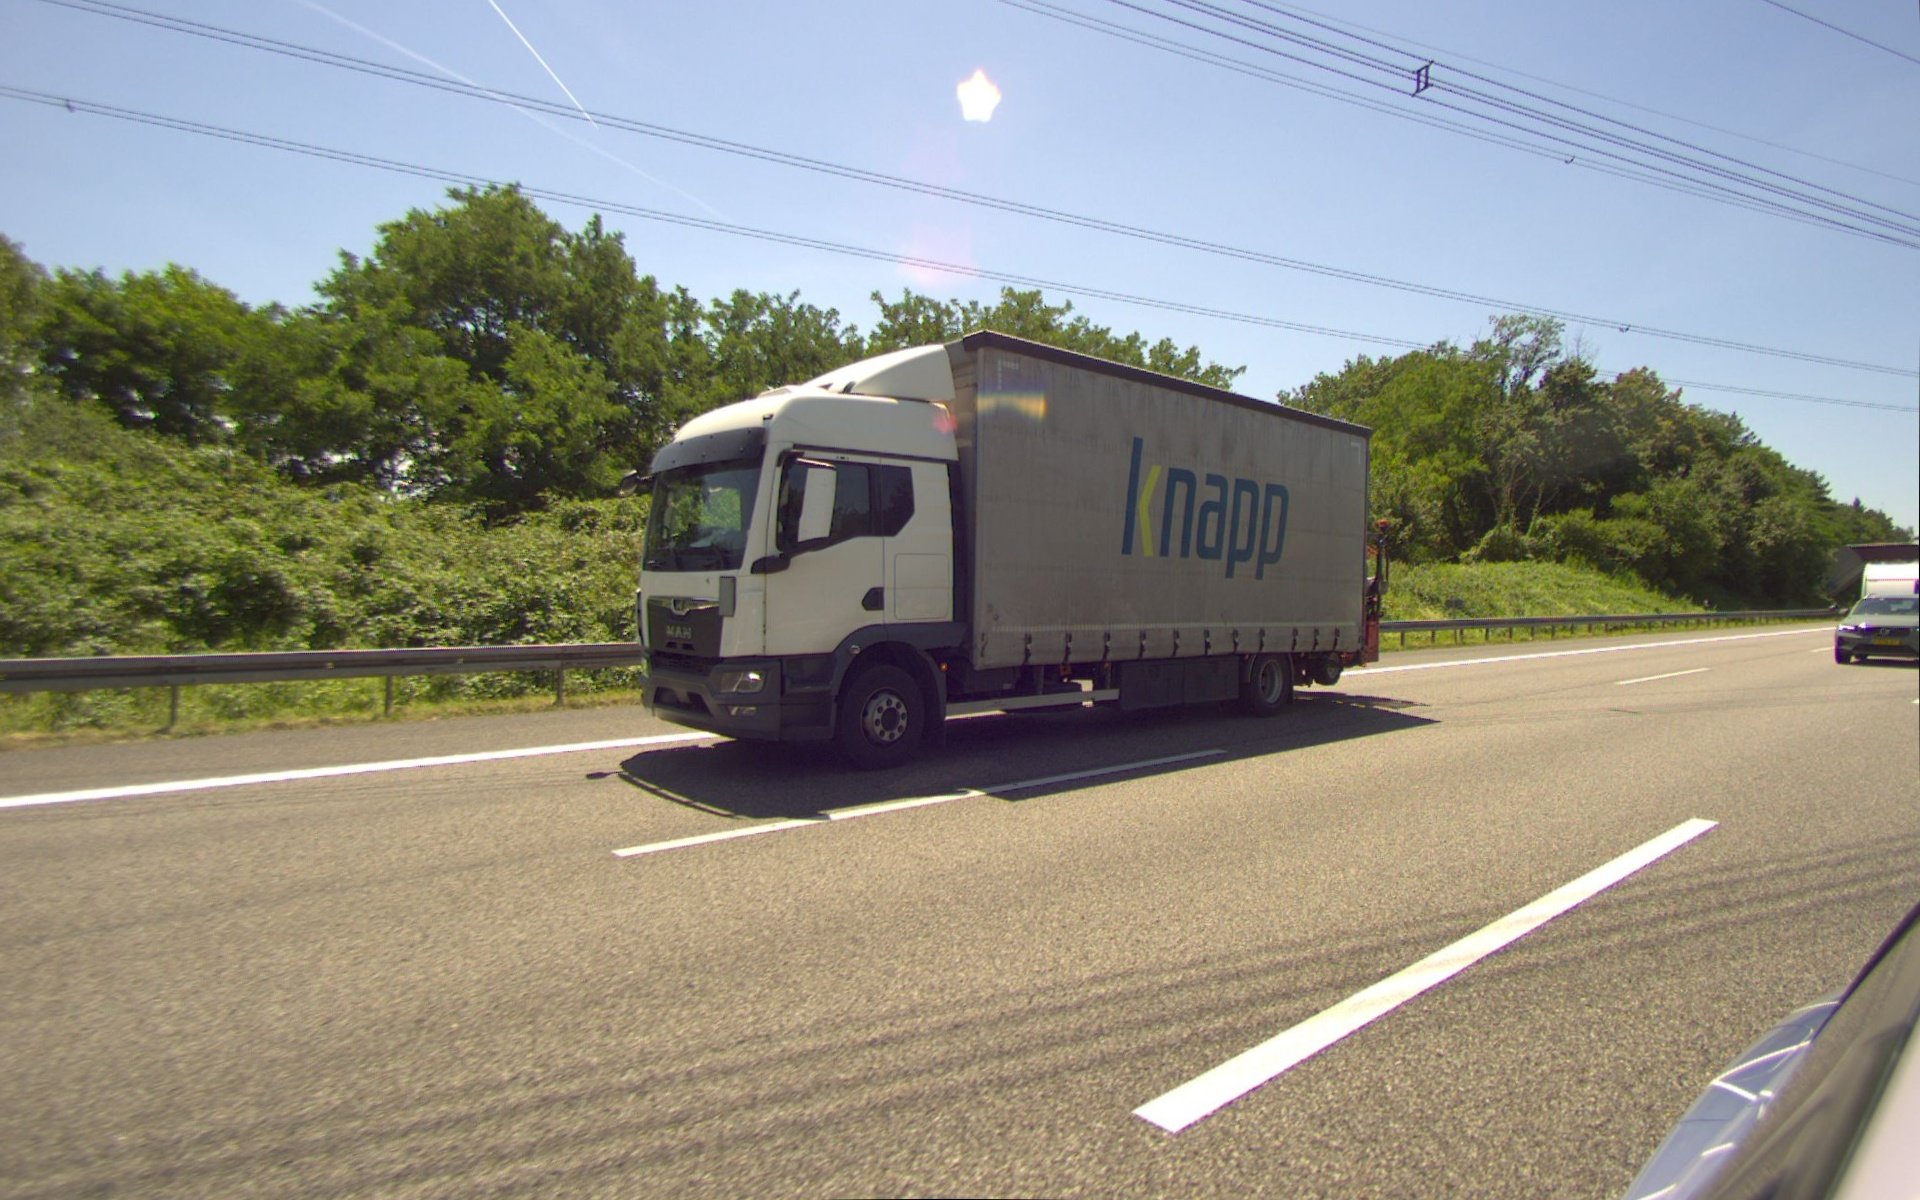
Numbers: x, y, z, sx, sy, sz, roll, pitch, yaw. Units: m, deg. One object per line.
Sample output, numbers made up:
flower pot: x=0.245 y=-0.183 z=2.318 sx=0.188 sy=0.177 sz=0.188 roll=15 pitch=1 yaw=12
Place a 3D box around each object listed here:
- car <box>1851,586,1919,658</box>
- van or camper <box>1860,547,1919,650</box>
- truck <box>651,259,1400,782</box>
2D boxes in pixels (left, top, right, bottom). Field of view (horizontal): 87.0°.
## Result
car: x=22.114 y=0.474 z=23.372 sx=4.033 sy=1.549 sz=1.786 roll=0 pitch=1 yaw=-41
van or camper: x=26.004 y=-0.050 z=26.809 sx=6.319 sy=2.529 sz=2.410 roll=0 pitch=1 yaw=-41
truck: x=1.657 y=-0.605 z=11.378 sx=9.867 sy=3.820 sz=1.986 roll=0 pitch=0 yaw=-41
